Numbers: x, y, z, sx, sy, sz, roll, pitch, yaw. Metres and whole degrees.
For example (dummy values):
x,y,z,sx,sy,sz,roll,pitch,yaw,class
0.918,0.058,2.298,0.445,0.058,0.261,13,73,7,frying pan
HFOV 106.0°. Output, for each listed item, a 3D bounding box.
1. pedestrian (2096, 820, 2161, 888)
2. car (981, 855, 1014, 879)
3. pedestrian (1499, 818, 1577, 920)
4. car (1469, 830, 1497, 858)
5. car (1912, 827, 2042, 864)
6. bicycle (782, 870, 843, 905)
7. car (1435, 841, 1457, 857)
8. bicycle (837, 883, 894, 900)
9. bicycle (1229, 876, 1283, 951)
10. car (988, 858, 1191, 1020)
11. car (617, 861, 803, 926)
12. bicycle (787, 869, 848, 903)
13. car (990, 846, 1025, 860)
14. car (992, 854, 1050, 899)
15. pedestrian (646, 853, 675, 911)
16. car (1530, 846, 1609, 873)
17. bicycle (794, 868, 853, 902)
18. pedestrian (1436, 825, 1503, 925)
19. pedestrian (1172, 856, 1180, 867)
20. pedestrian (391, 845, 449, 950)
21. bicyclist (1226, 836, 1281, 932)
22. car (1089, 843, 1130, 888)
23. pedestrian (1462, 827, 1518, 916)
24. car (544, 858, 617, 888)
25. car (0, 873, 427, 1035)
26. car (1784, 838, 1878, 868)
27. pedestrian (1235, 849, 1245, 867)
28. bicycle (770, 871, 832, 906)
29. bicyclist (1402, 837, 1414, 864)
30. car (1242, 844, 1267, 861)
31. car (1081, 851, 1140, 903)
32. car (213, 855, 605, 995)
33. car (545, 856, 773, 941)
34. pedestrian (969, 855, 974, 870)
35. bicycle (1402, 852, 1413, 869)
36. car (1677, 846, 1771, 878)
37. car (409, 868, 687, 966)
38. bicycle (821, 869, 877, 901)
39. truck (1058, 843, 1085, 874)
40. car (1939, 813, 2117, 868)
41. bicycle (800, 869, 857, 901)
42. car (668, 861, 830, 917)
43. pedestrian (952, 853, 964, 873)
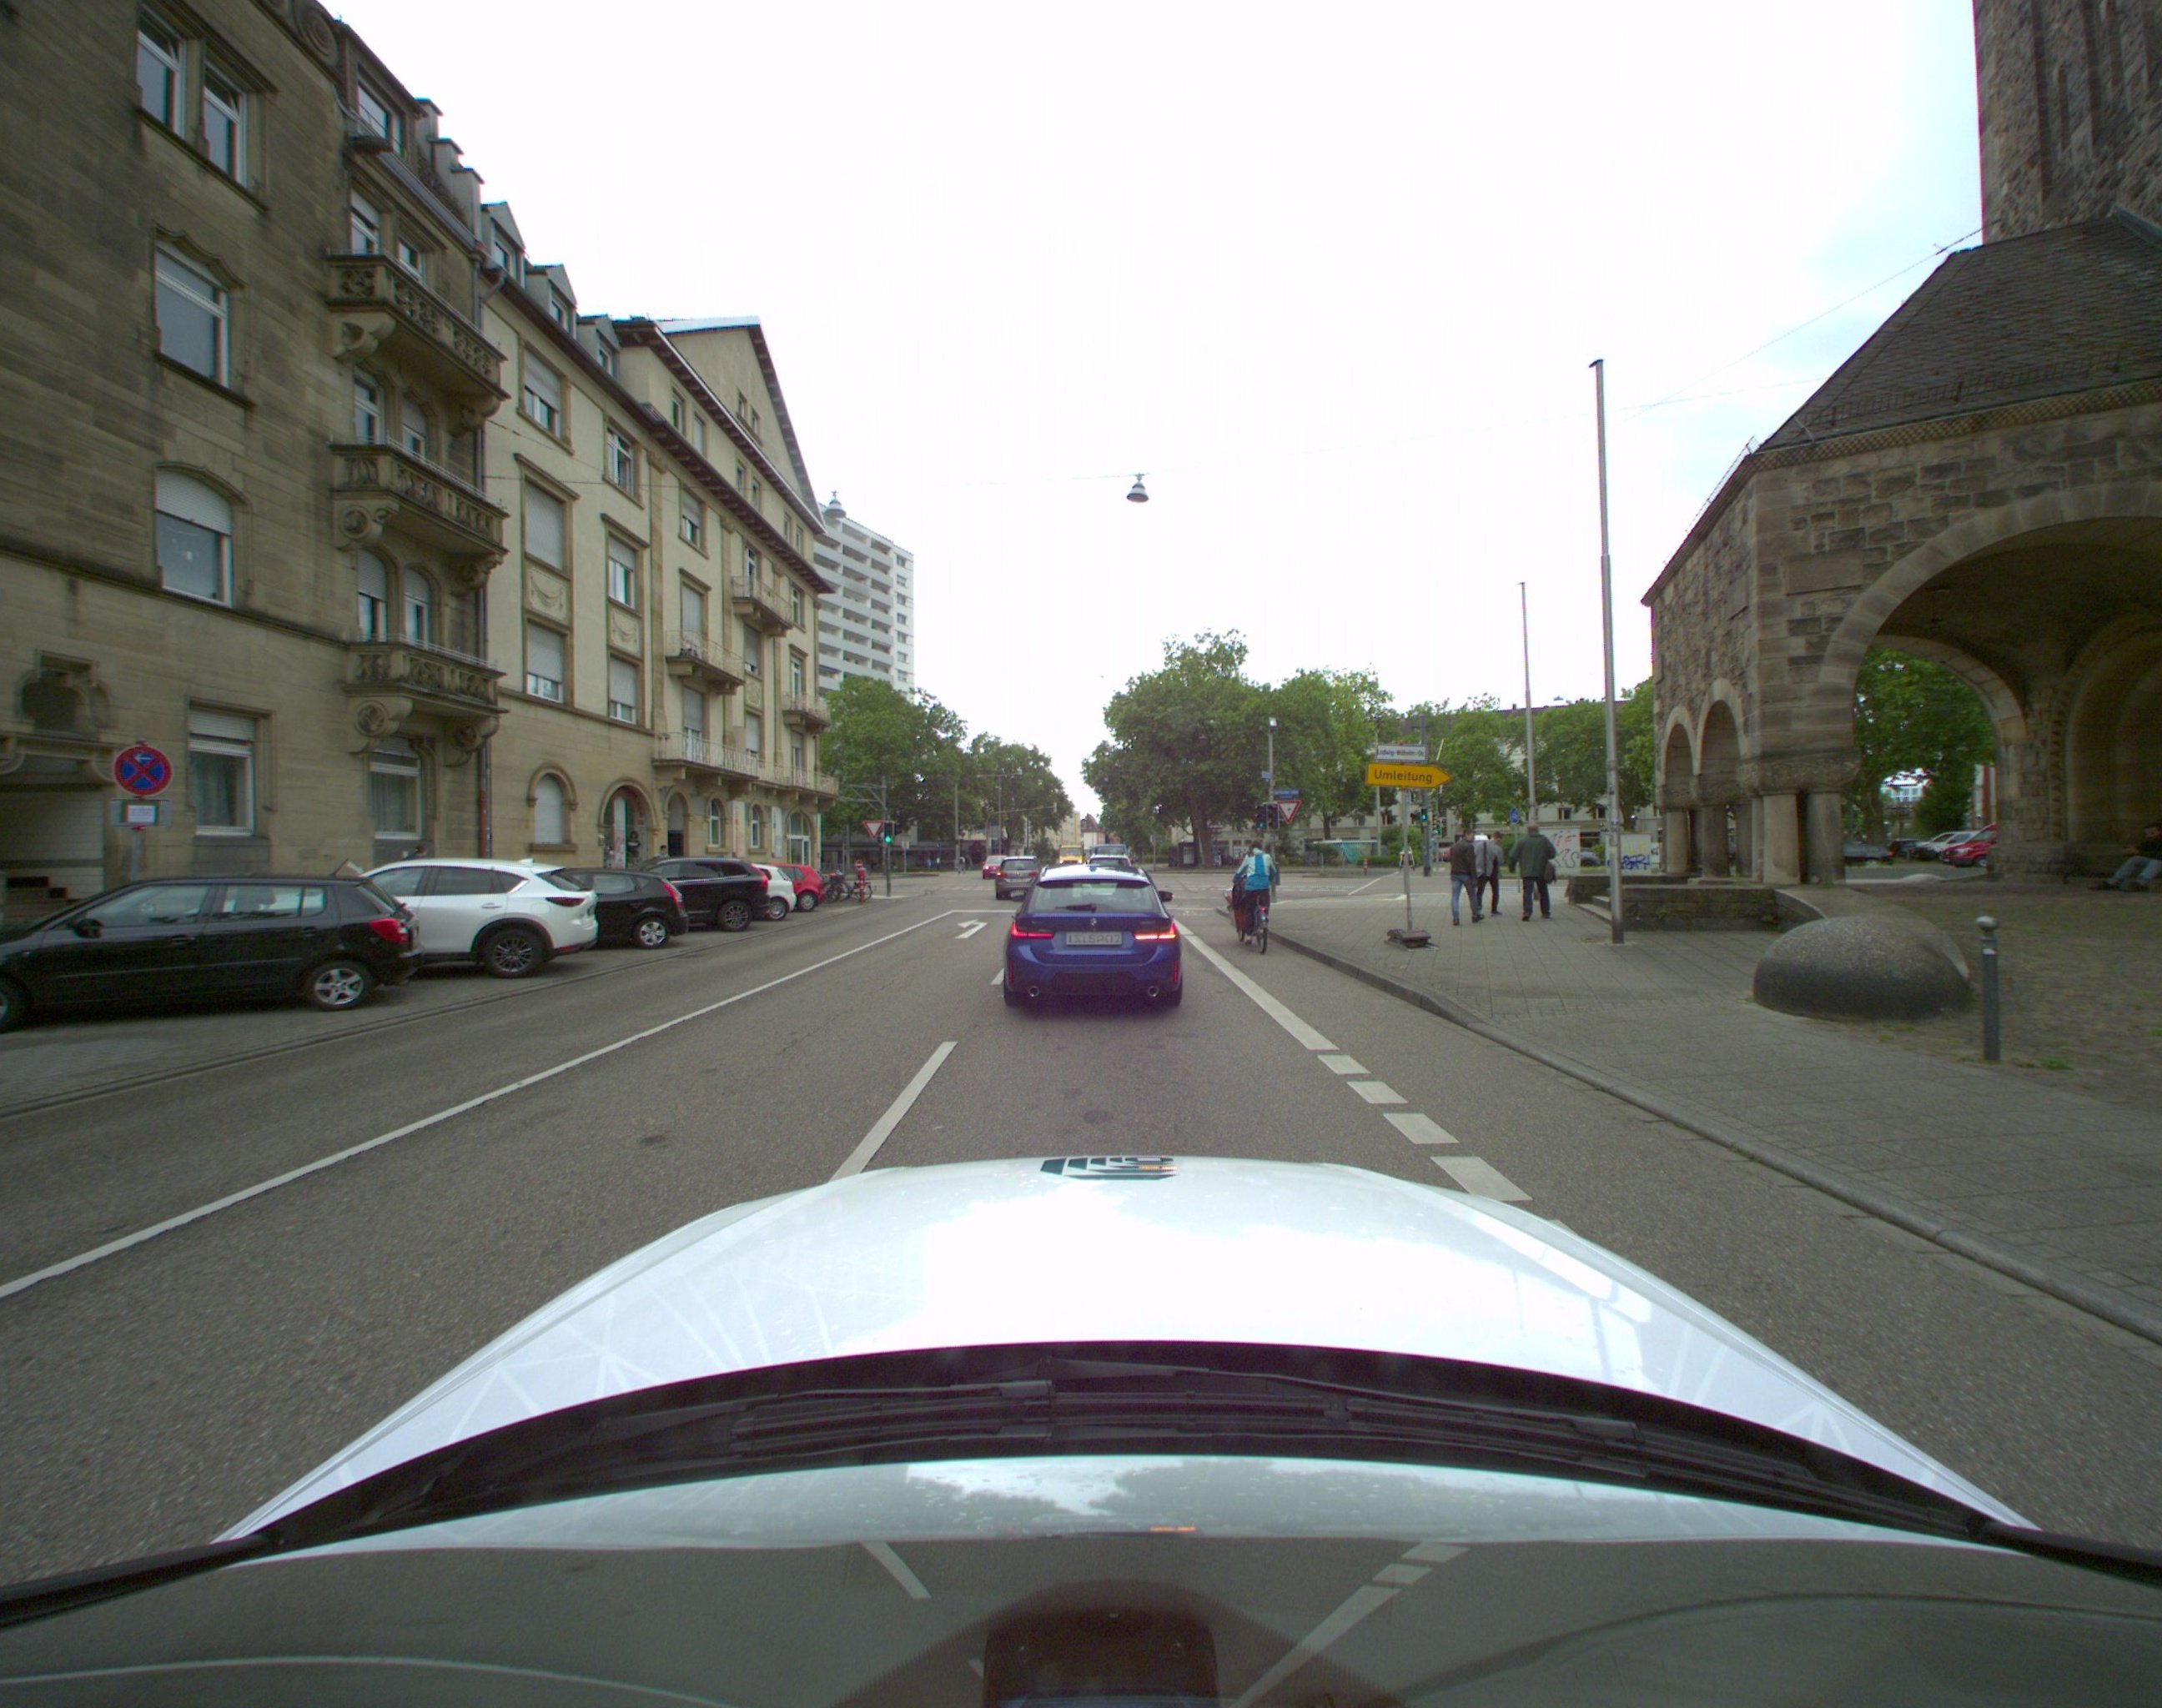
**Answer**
x,y,z,sx,sy,sz,roll,pitch,yaw,class
15.405,-0.006,11.794,0.665,0.951,0.618,-1,0,24,pedestrian
-5.335,0.799,52.431,1.643,1.447,3.512,-1,0,2,car
8.337,0.260,14.902,0.801,1.758,0.969,-3,0,1,pedestrian
39.138,-0.943,79.245,2.214,2.639,5.480,-1,0,28,car
55.564,-0.491,50.656,5.025,2.096,2.004,-2,-1,24,car
-9.208,1.142,27.938,1.880,1.035,0.442,4,0,-1,bicycle
34.996,-0.464,78.062,1.649,1.515,3.962,-1,0,28,car
-8.272,1.445,31.337,1.880,0.445,1.029,4,1,-1,bicycle
2.922,0.962,13.765,0.492,1.098,2.139,-1,0,2,bicycle
0.148,0.785,9.541,1.808,1.405,4.322,-1,0,2,car
-9.372,0.954,20.760,4.021,1.472,1.546,2,0,-41,car
-9.206,1.125,28.475,1.880,1.035,0.442,4,0,-1,bicycle
-9.369,-0.174,103.733,4.014,1.706,1.980,0,-1,-32,car
-2.204,0.796,30.735,1.726,1.525,4.002,-1,0,2,car
-13.077,0.869,25.360,0.564,1.785,0.551,-1,0,3,pedestrian
29.888,0.337,49.950,3.940,1.561,1.697,-2,-1,24,car
-9.203,1.106,29.137,1.880,1.035,0.442,4,0,-1,bicycle
6.953,0.364,14.627,0.672,1.686,0.969,-3,0,2,pedestrian
11.725,0.948,100.380,0.850,1.314,0.763,-1,-1,1,pedestrian
-12.544,0.812,15.471,0.616,1.958,0.551,-1,0,3,pedestrian
2.828,0.476,13.450,0.683,1.518,1.059,-1,0,2,bicyclist
1.375,0.533,39.382,1.808,2.005,4.002,-1,0,2,car
8.034,0.336,16.025,0.629,1.673,0.971,-3,0,8,pedestrian
-14.867,0.559,24.266,0.910,0.834,2.015,-1,-1,2,car
-9.628,0.961,8.867,3.830,1.497,1.552,1,-1,-37,car
41.220,-0.045,44.851,3.424,1.561,1.697,-2,-1,24,car
15.769,0.407,80.568,0.781,1.743,0.925,-1,-1,0,pedestrian
-9.324,1.140,27.124,1.877,1.035,0.443,3,0,4,bicycle
19.983,-0.206,49.781,0.608,1.654,0.758,-1,-1,23,bicyclist
22.349,-0.192,104.780,2.154,2.200,4.024,-1,0,26,car
1.003,0.713,27.570,1.808,1.592,4.002,-1,0,2,car
-9.346,0.896,11.811,4.004,1.723,1.827,0,-1,-23,car
-9.307,0.891,18.177,4.248,1.652,1.711,0,-1,-41,car
-12.964,1.026,96.180,0.571,1.771,0.513,-1,0,-10,pedestrian
20.003,0.364,49.846,0.546,0.995,2.072,-1,0,24,bicycle
36.962,0.461,46.924,3.901,1.711,1.697,-2,-1,24,car
-9.495,1.022,14.751,4.017,1.494,1.713,0,-1,-36,car
-8.639,1.152,30.307,1.880,1.035,0.442,4,0,-1,bicycle
-0.717,0.364,67.089,2.068,2.408,5.461,-2,0,0,truck
47.902,-0.624,41.389,5.542,2.538,2.004,-2,-1,24,car
-9.218,1.126,29.773,1.880,1.035,0.442,4,0,-1,bicycle
-9.555,0.949,23.652,1.663,1.472,4.024,1,0,43,car
-11.137,0.809,73.690,0.668,1.771,0.730,-2,0,43,pedestrian
